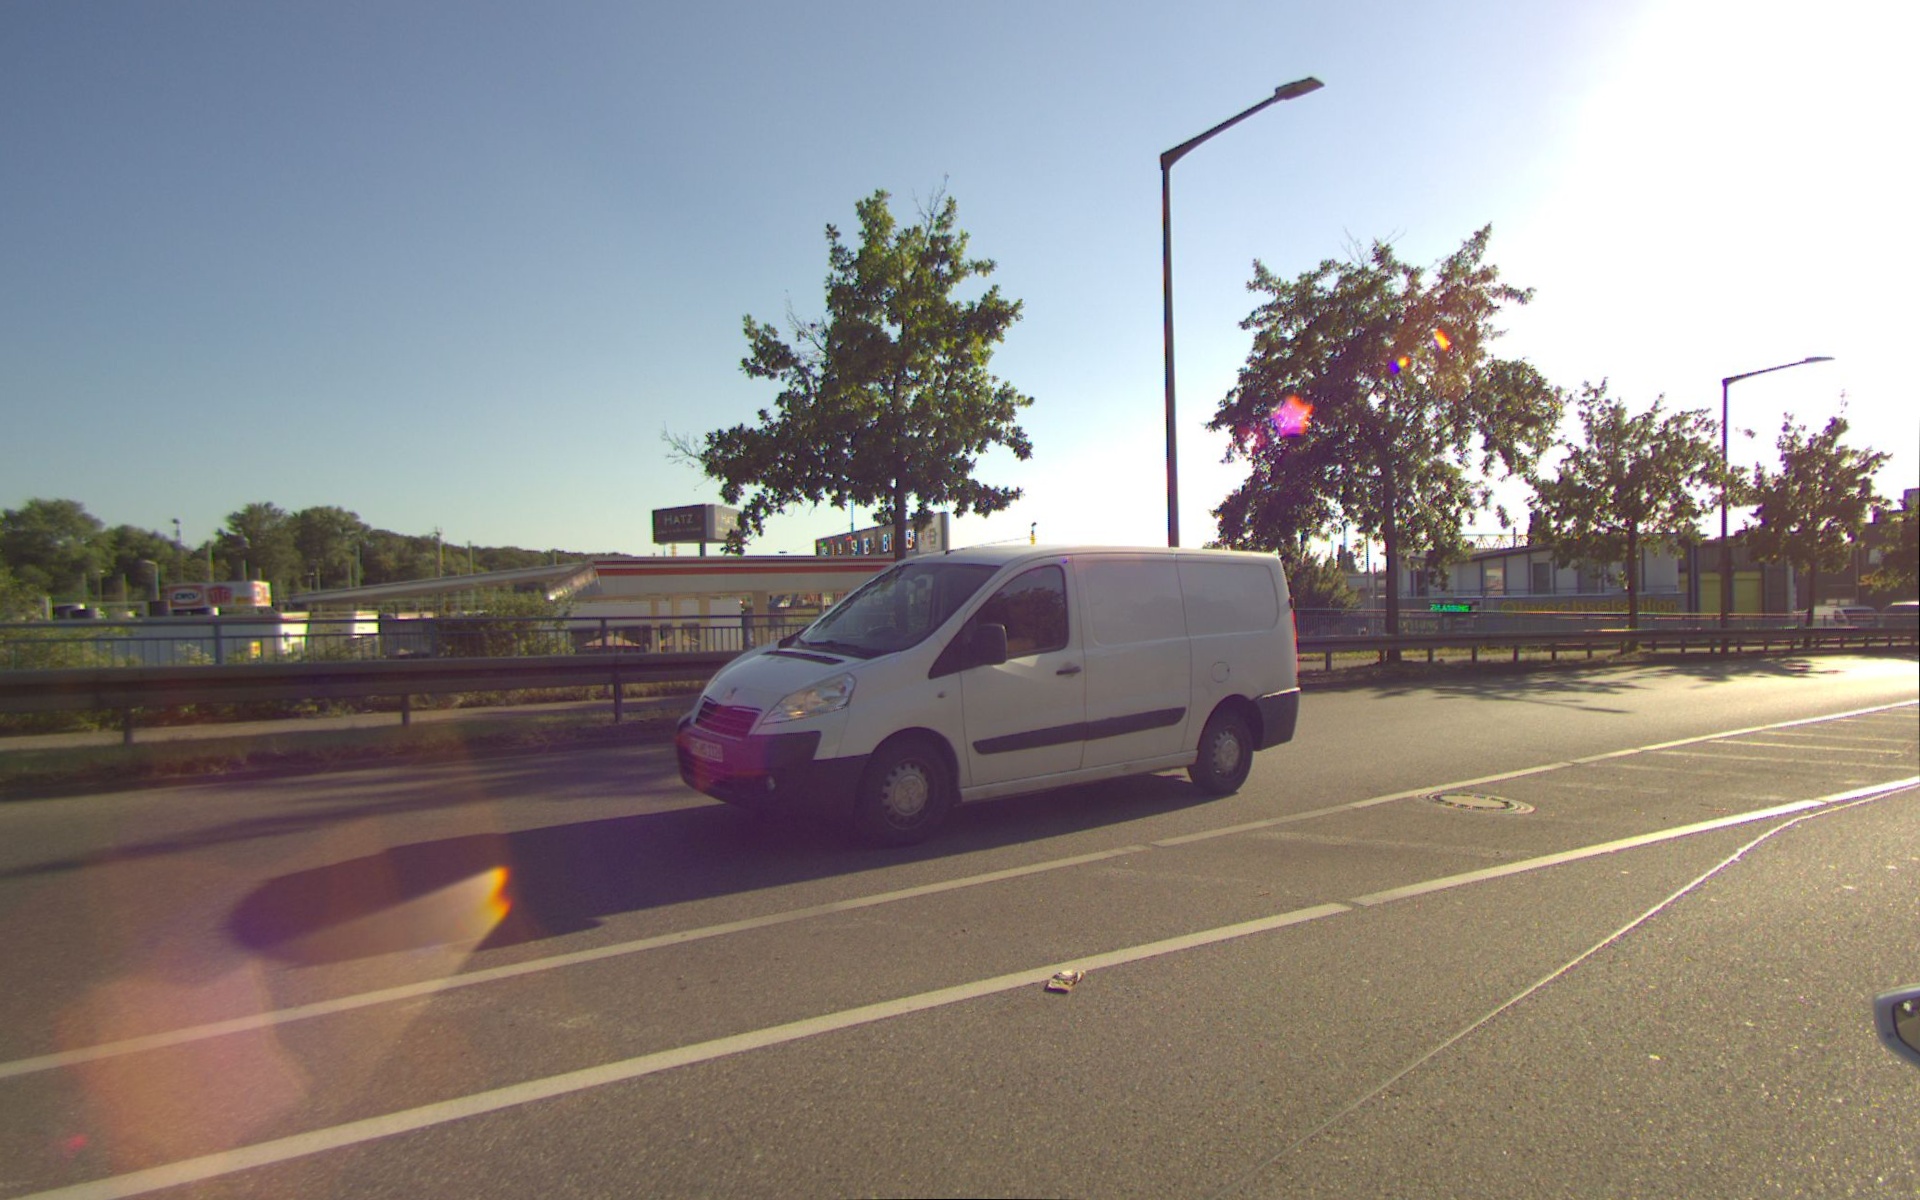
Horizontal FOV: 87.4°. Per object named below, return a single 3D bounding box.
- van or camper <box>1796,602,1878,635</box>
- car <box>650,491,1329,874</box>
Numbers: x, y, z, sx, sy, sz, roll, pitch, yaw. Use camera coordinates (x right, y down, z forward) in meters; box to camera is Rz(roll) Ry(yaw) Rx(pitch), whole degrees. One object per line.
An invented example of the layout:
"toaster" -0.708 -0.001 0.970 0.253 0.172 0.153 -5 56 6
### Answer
"van or camper" 54.829 1.144 62.890 1.959 1.951 4.232 1 0 11
"car" 0.522 0.470 7.707 5.214 2.040 1.863 1 1 -39
